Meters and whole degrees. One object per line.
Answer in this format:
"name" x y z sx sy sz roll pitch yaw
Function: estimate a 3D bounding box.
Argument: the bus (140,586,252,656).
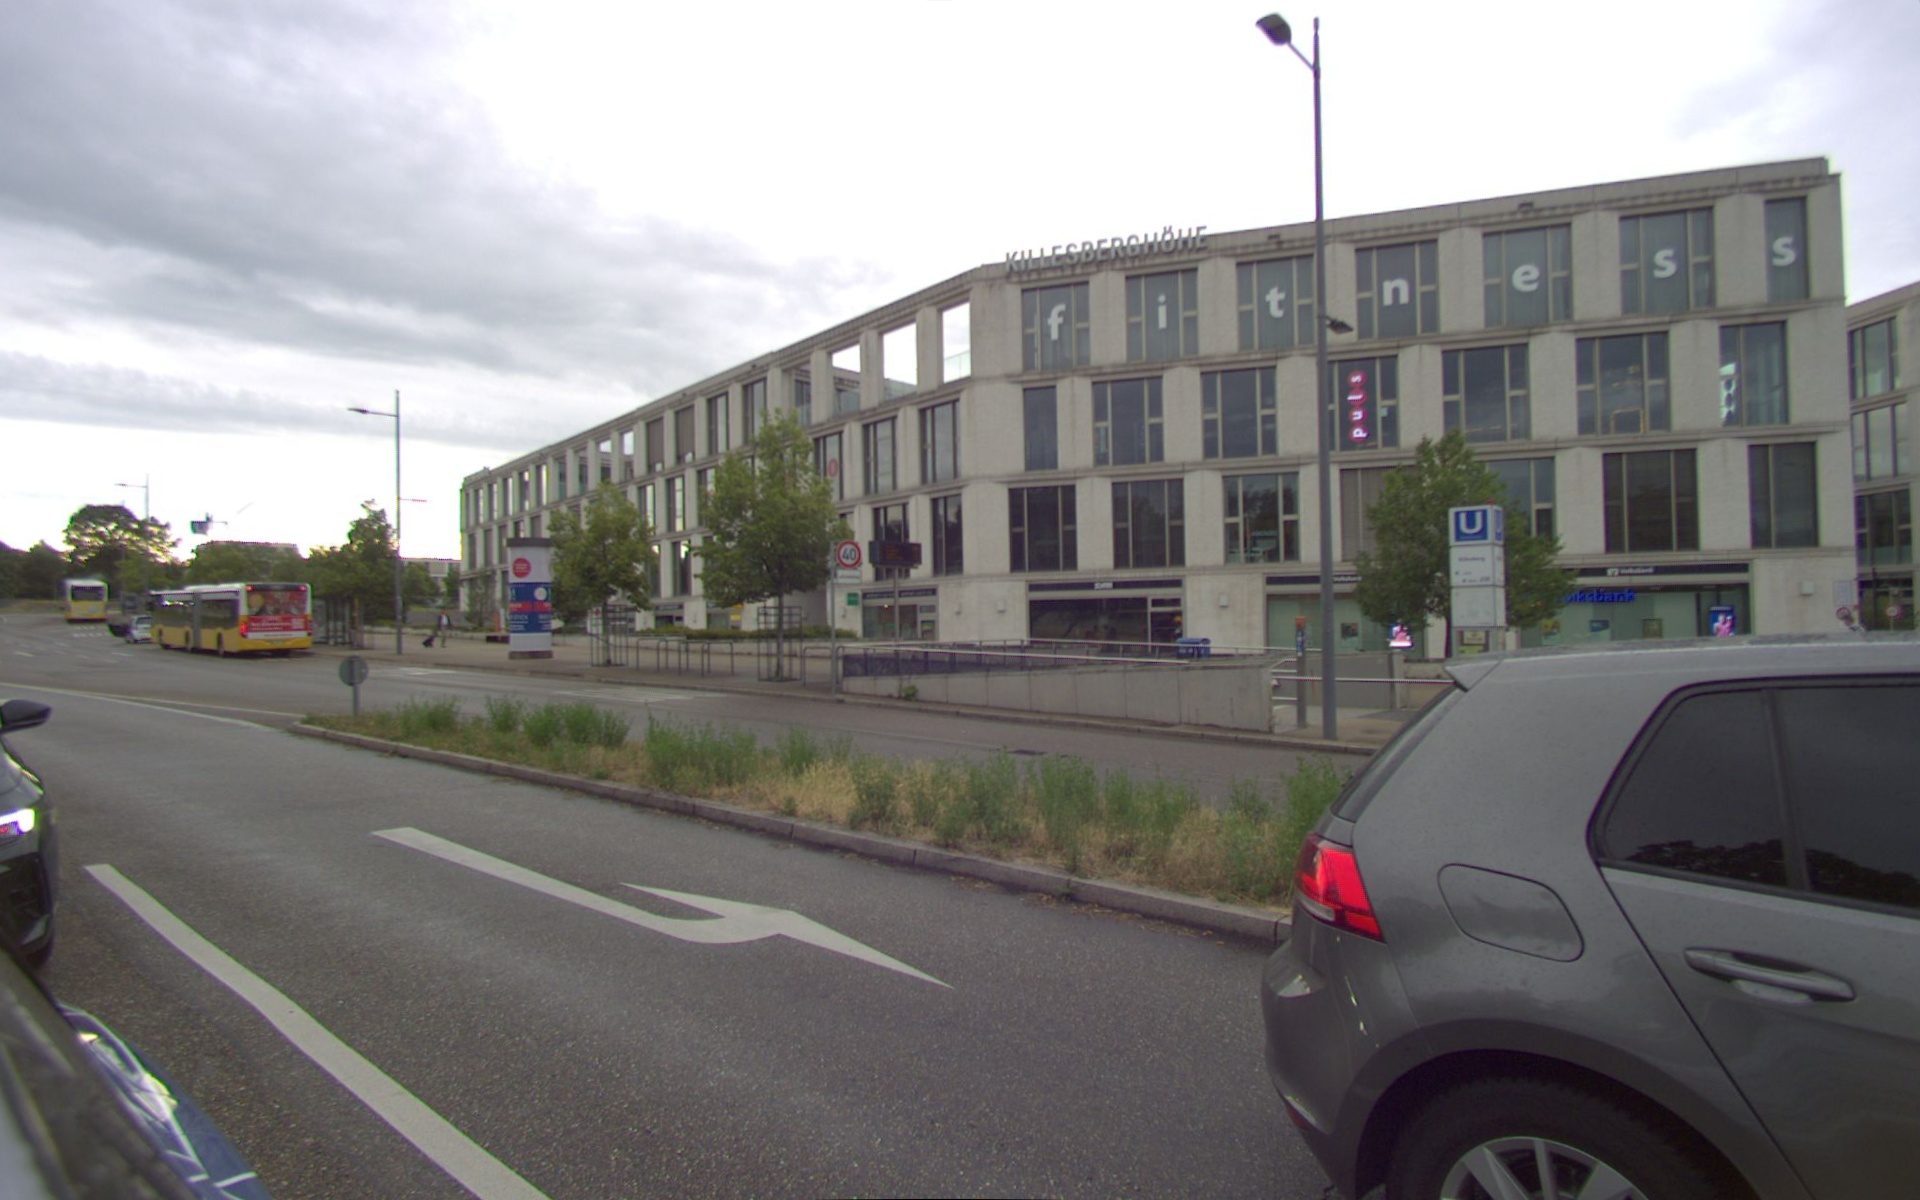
"bus" -38.161 0.983 50.391 9.911 3.205 2.658 -1 0 42

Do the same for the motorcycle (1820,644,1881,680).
"motorcycle" 20.396 1.413 23.194 0.517 0.746 1.098 -1 0 9

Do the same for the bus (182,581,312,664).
"bus" -31.135 0.914 43.983 9.206 3.236 2.723 -1 0 43

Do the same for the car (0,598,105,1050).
"car" -5.372 0.764 4.374 4.766 1.476 1.877 -1 0 41

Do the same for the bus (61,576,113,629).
"bus" -76.350 0.257 88.757 2.717 4.185 19.383 -1 0 -39

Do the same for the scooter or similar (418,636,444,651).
"scooter or similar" -23.819 1.956 45.563 0.825 0.656 0.638 0 -1 15

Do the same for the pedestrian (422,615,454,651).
"pedestrian" -23.621 1.484 45.815 0.974 1.593 0.863 -1 0 14

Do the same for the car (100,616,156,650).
"car" -47.343 1.831 57.545 3.998 1.800 1.843 -1 0 41

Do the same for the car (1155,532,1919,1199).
"car" 2.641 0.650 1.406 4.376 1.492 1.796 -1 -2 42

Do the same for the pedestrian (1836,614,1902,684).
"pedestrian" 21.542 1.146 24.001 0.907 1.617 0.760 0 -1 18
